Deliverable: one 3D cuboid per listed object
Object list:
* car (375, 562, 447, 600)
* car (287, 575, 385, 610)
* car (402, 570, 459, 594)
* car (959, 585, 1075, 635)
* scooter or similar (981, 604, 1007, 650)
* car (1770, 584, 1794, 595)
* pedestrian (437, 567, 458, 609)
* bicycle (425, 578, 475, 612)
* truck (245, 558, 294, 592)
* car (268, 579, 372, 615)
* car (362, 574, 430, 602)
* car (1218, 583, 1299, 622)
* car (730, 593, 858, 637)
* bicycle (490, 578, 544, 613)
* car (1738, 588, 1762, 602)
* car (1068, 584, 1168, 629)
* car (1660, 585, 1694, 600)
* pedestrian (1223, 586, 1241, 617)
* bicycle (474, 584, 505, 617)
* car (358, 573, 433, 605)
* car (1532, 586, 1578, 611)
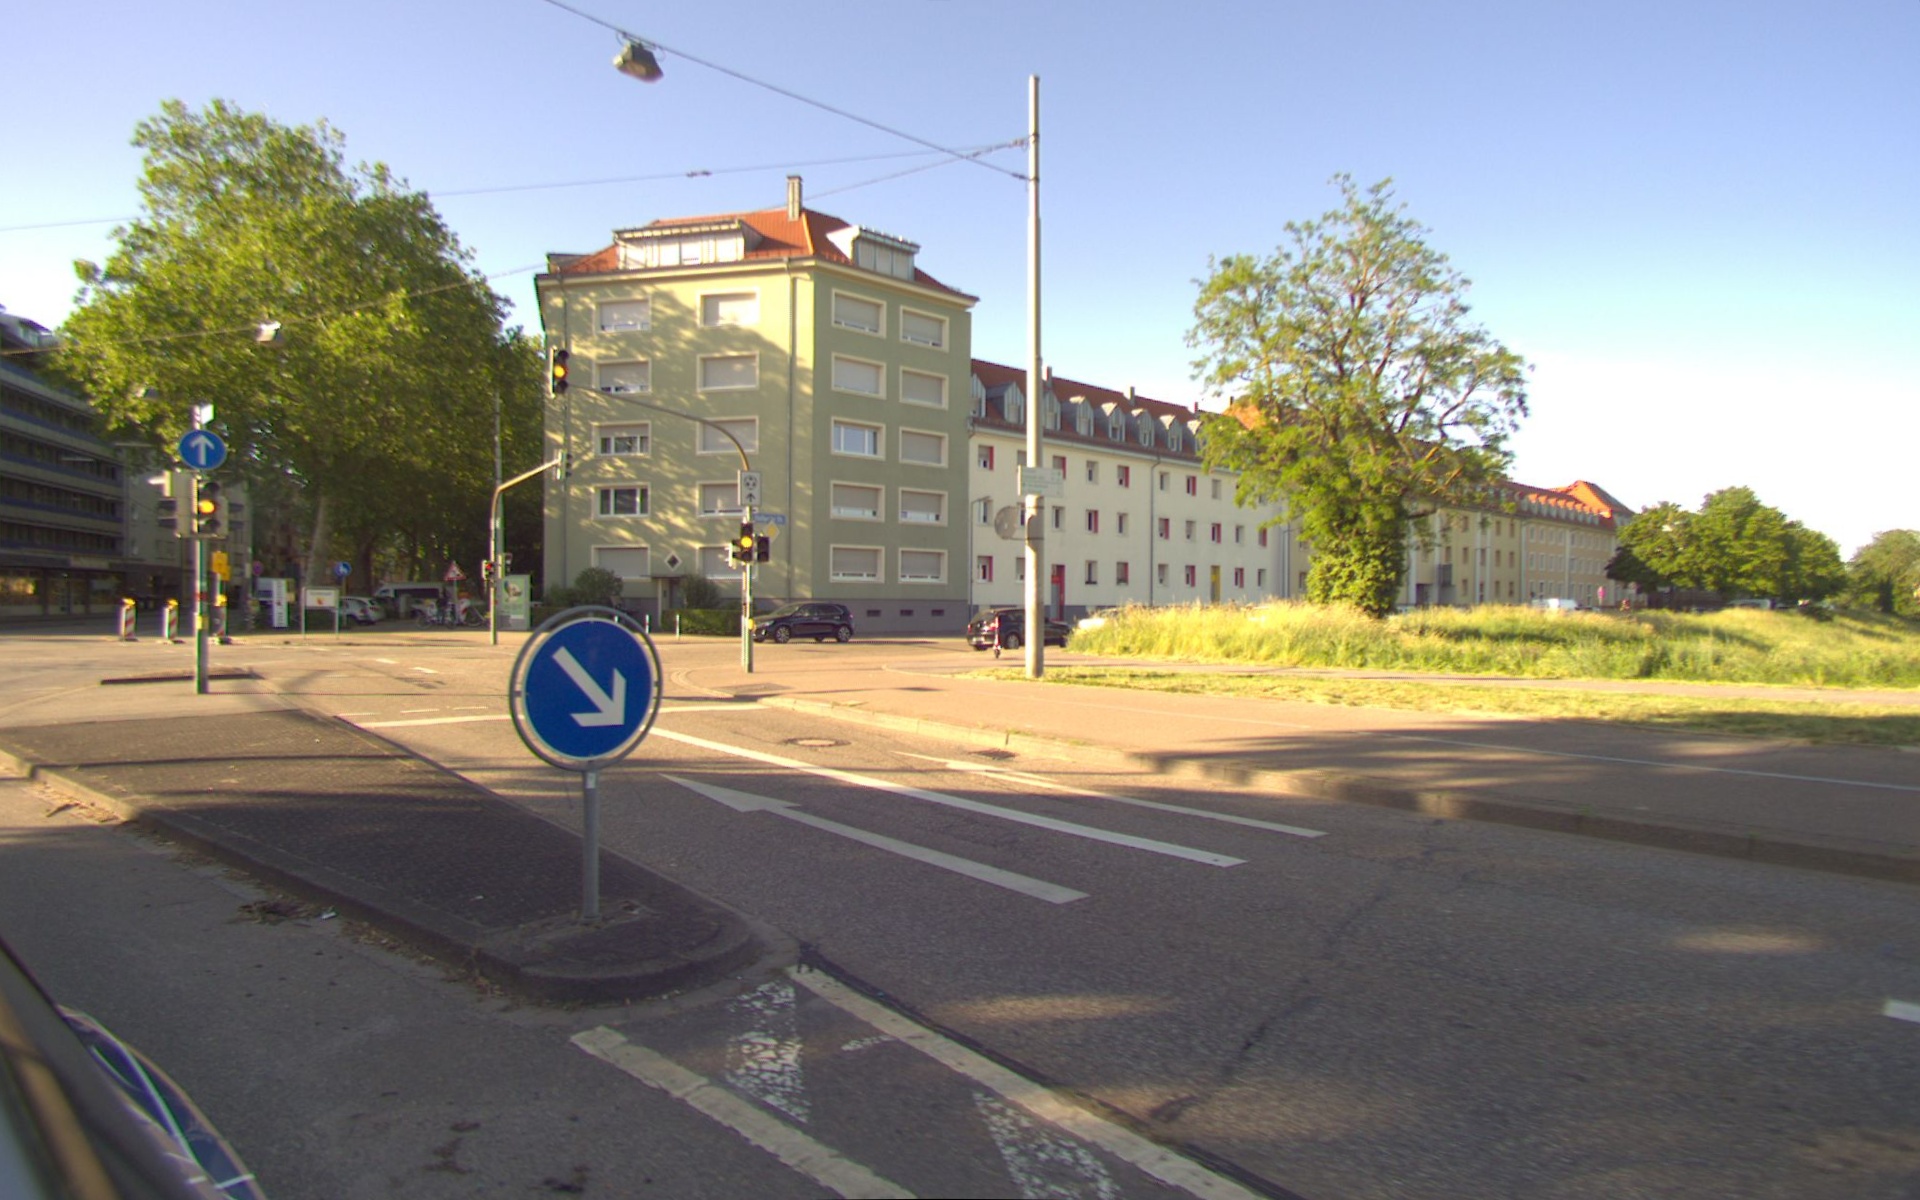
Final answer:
[{"bbox_3d":[-40.239,-1.395,74.283,4.345,2.646,1.976,-1,4,-20],"label":"car"},{"bbox_3d":[-32.662,-0.436,53.076,4.078,1.652,1.781,-1,4,-20],"label":"car"},{"bbox_3d":[-43.335,-1.518,82.934,3.932,1.851,1.822,-1,4,-20],"label":"car"},{"bbox_3d":[1.946,0.315,33.654,3.844,1.541,1.701,0,-2,-45],"label":"car"},{"bbox_3d":[0.877,0.721,26.270,0.587,1.153,1.267,1,-3,-1],"label":"scooter or similar"},{"bbox_3d":[116.582,-1.513,143.560,4.142,1.505,1.945,0,0,-41],"label":"car"},{"bbox_3d":[-25.102,-0.601,49.565,0.685,1.978,0.930,-1,3,-12],"label":"pedestrian"},{"bbox_3d":[-24.396,-0.239,48.449,2.019,1.472,0.728,2,3,-13],"label":"bicycle"},{"bbox_3d":[-66.044,-2.464,96.941,2.303,2.994,8.060,-1,4,-23],"label":"truck"},{"bbox_3d":[-32.029,-0.186,50.760,4.078,1.652,1.781,-1,4,-20],"label":"car"},{"bbox_3d":[-39.830,-0.876,71.563,3.932,1.851,1.822,-1,4,-20],"label":"car"},{"bbox_3d":[12.938,0.111,43.773,3.844,1.541,1.701,0,-2,-45],"label":"car"},{"bbox_3d":[-5.930,0.504,36.317,4.142,1.505,1.945,0,0,-41],"label":"car"},{"bbox_3d":[-19.112,-0.210,43.678,2.032,1.390,0.772,3,3,12],"label":"bicycle"},{"bbox_3d":[91.026,-0.520,116.630,3.844,1.541,1.701,0,-2,-45],"label":"car"},{"bbox_3d":[5.884,0.230,37.474,3.844,1.541,1.701,0,-2,-45],"label":"car"},{"bbox_3d":[74.611,-0.787,105.243,4.142,1.505,1.945,0,0,-41],"label":"car"},{"bbox_3d":[17.811,0.083,66.241,0.734,1.887,0.741,-3,8,-44],"label":"pedestrian"},{"bbox_3d":[-22.083,-0.010,47.450,0.763,1.390,2.056,0,4,-41],"label":"bicycle"},{"bbox_3d":[-35.874,-0.738,64.407,3.932,1.851,1.822,-1,4,-20],"label":"car"},{"bbox_3d":[39.818,-0.083,67.669,3.844,1.541,1.701,0,-2,-45],"label":"car"}]
